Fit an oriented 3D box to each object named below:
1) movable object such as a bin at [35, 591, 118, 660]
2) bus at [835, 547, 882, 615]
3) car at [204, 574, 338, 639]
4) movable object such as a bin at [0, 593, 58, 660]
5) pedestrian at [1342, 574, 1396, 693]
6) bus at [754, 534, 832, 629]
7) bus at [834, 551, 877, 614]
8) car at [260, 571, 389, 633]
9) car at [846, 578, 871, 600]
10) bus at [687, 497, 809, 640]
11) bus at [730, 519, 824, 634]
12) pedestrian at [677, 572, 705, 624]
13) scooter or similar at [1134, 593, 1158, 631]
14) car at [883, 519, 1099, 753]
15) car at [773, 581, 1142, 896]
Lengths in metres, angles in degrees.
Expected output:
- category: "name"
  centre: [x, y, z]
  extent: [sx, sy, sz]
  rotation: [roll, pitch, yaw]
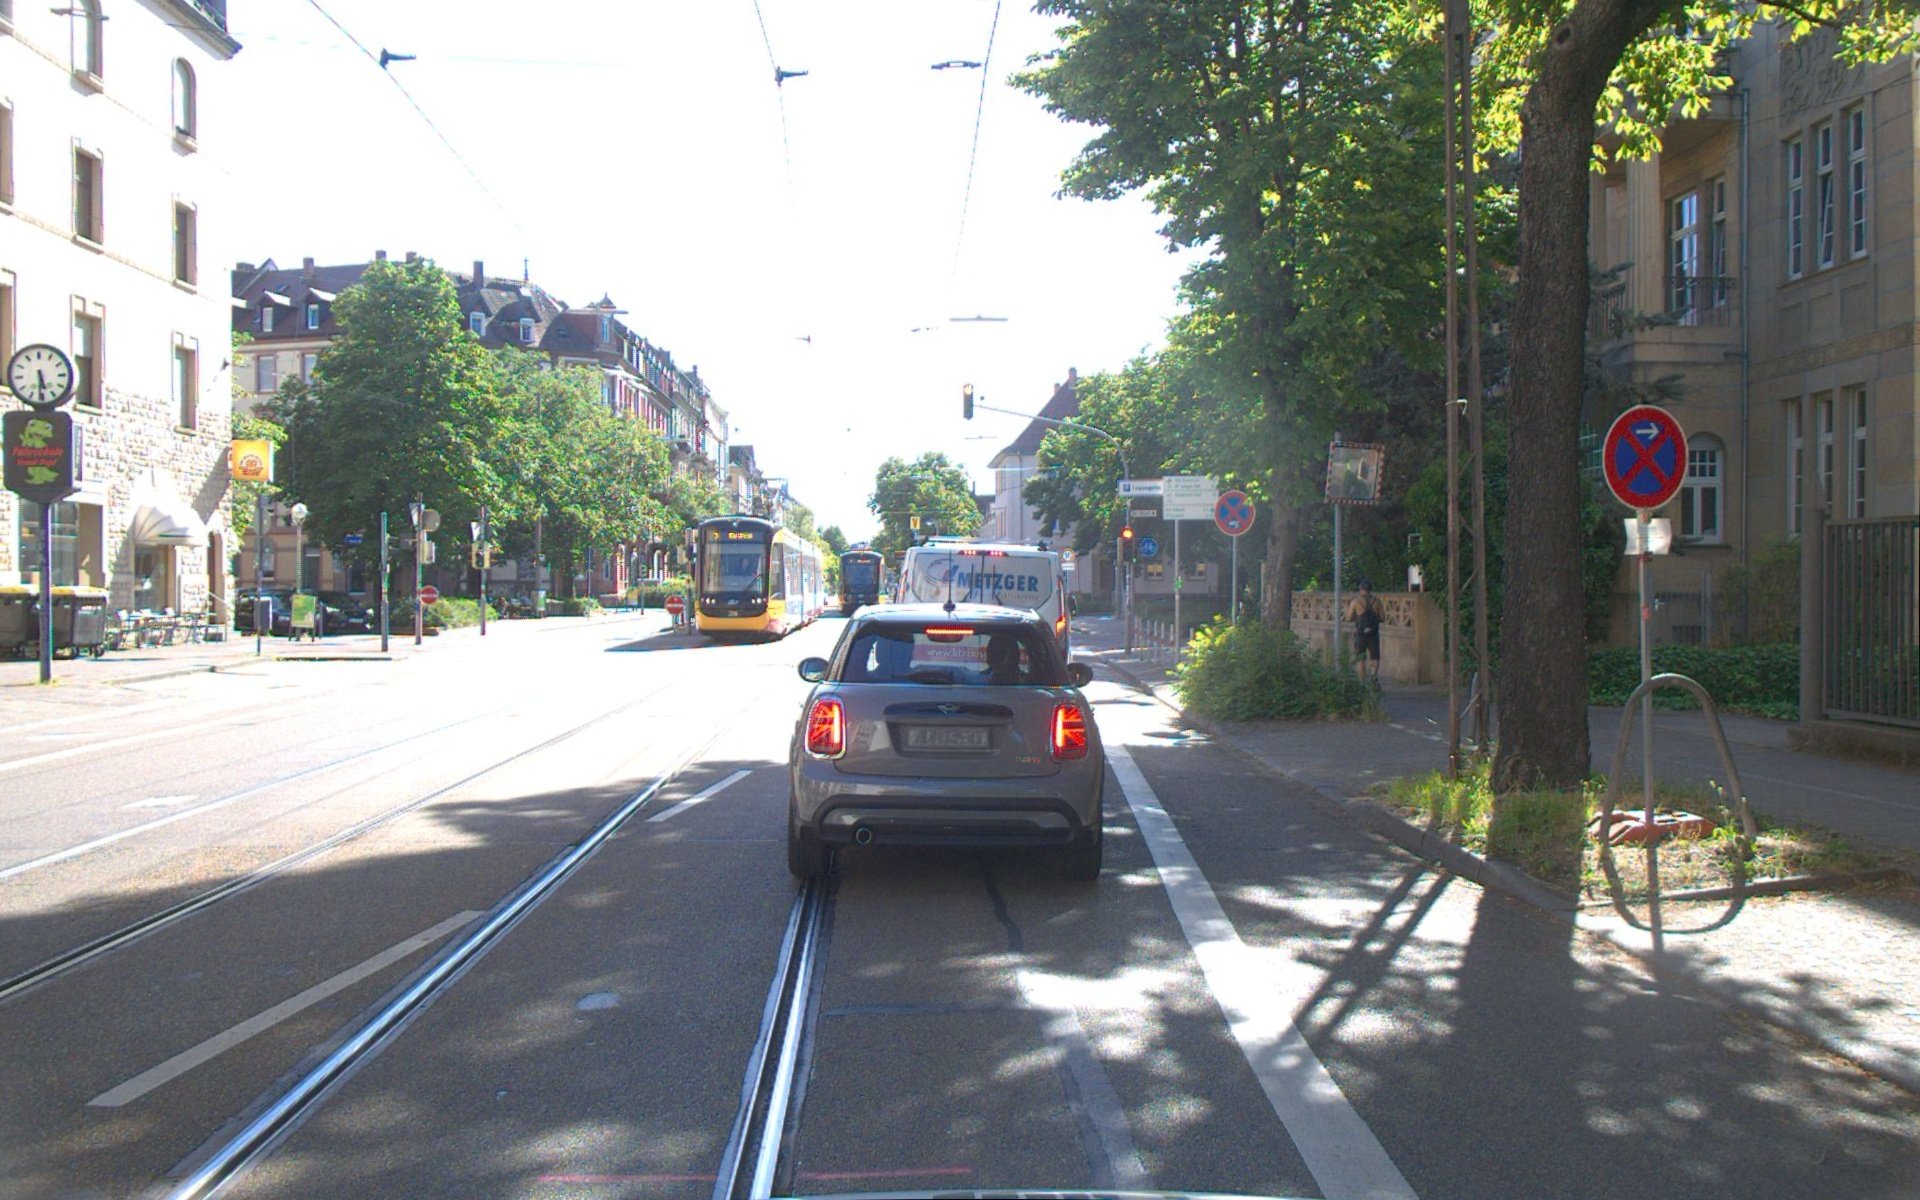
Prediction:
- category: "movable object such as a bin"
  centre: [-17.097, 0.488, 32.029]
  extent: [0.925, 1.296, 1.144]
  rotation: [1, 0, 3]
- category: "bus"
  centre: [-5.605, -0.986, 90.914]
  extent: [2.339, 3.557, 7.376]
  rotation: [1, 0, -5]
- category: "car"
  centre: [-22.571, 0.211, 54.191]
  extent: [3.910, 2.049, 1.997]
  rotation: [1, 0, 28]
- category: "movable object such as a bin"
  centre: [-18.003, 0.487, 31.587]
  extent: [0.815, 1.244, 1.244]
  rotation: [1, 0, 1]
- category: "pedestrian"
  centre: [6.007, 0.483, 24.305]
  extent: [0.580, 1.700, 0.646]
  rotation: [-2, 0, -1]
- category: "bus"
  centre: [-7.300, -0.729, 73.699]
  extent: [2.793, 3.843, 12.189]
  rotation: [1, 0, -3]
- category: "bus"
  centre: [-6.250, -0.982, 98.294]
  extent: [2.339, 3.557, 7.376]
  rotation: [1, 0, -5]
- category: "car"
  centre: [-21.623, 0.060, 56.282]
  extent: [3.910, 2.049, 1.997]
  rotation: [1, 0, 28]
- category: "car"
  centre: [-7.644, -0.837, 123.903]
  extent: [1.827, 1.591, 3.996]
  rotation: [1, 0, -4]
- category: "bus"
  centre: [-6.274, -0.838, 50.616]
  extent: [2.803, 3.843, 11.490]
  rotation: [1, 0, -3]
- category: "bus"
  centre: [-6.711, -0.781, 62.021]
  extent: [2.803, 3.843, 11.176]
  rotation: [1, 0, -3]
- category: "pedestrian"
  centre: [-9.678, -0.077, 59.454]
  extent: [0.864, 1.833, 0.902]
  rotation: [1, -1, -2]
- category: "scooter or similar"
  centre: [6.609, 0.421, 58.914]
  extent: [0.662, 1.333, 1.328]
  rotation: [1, 0, -2]
- category: "car"
  centre: [0.271, 0.361, 18.622]
  extent: [2.075, 2.247, 4.943]
  rotation: [1, 0, -1]
- category: "car"
  centre: [-0.038, 0.687, 10.093]
  extent: [1.778, 1.514, 3.999]
  rotation: [1, 0, -1]
